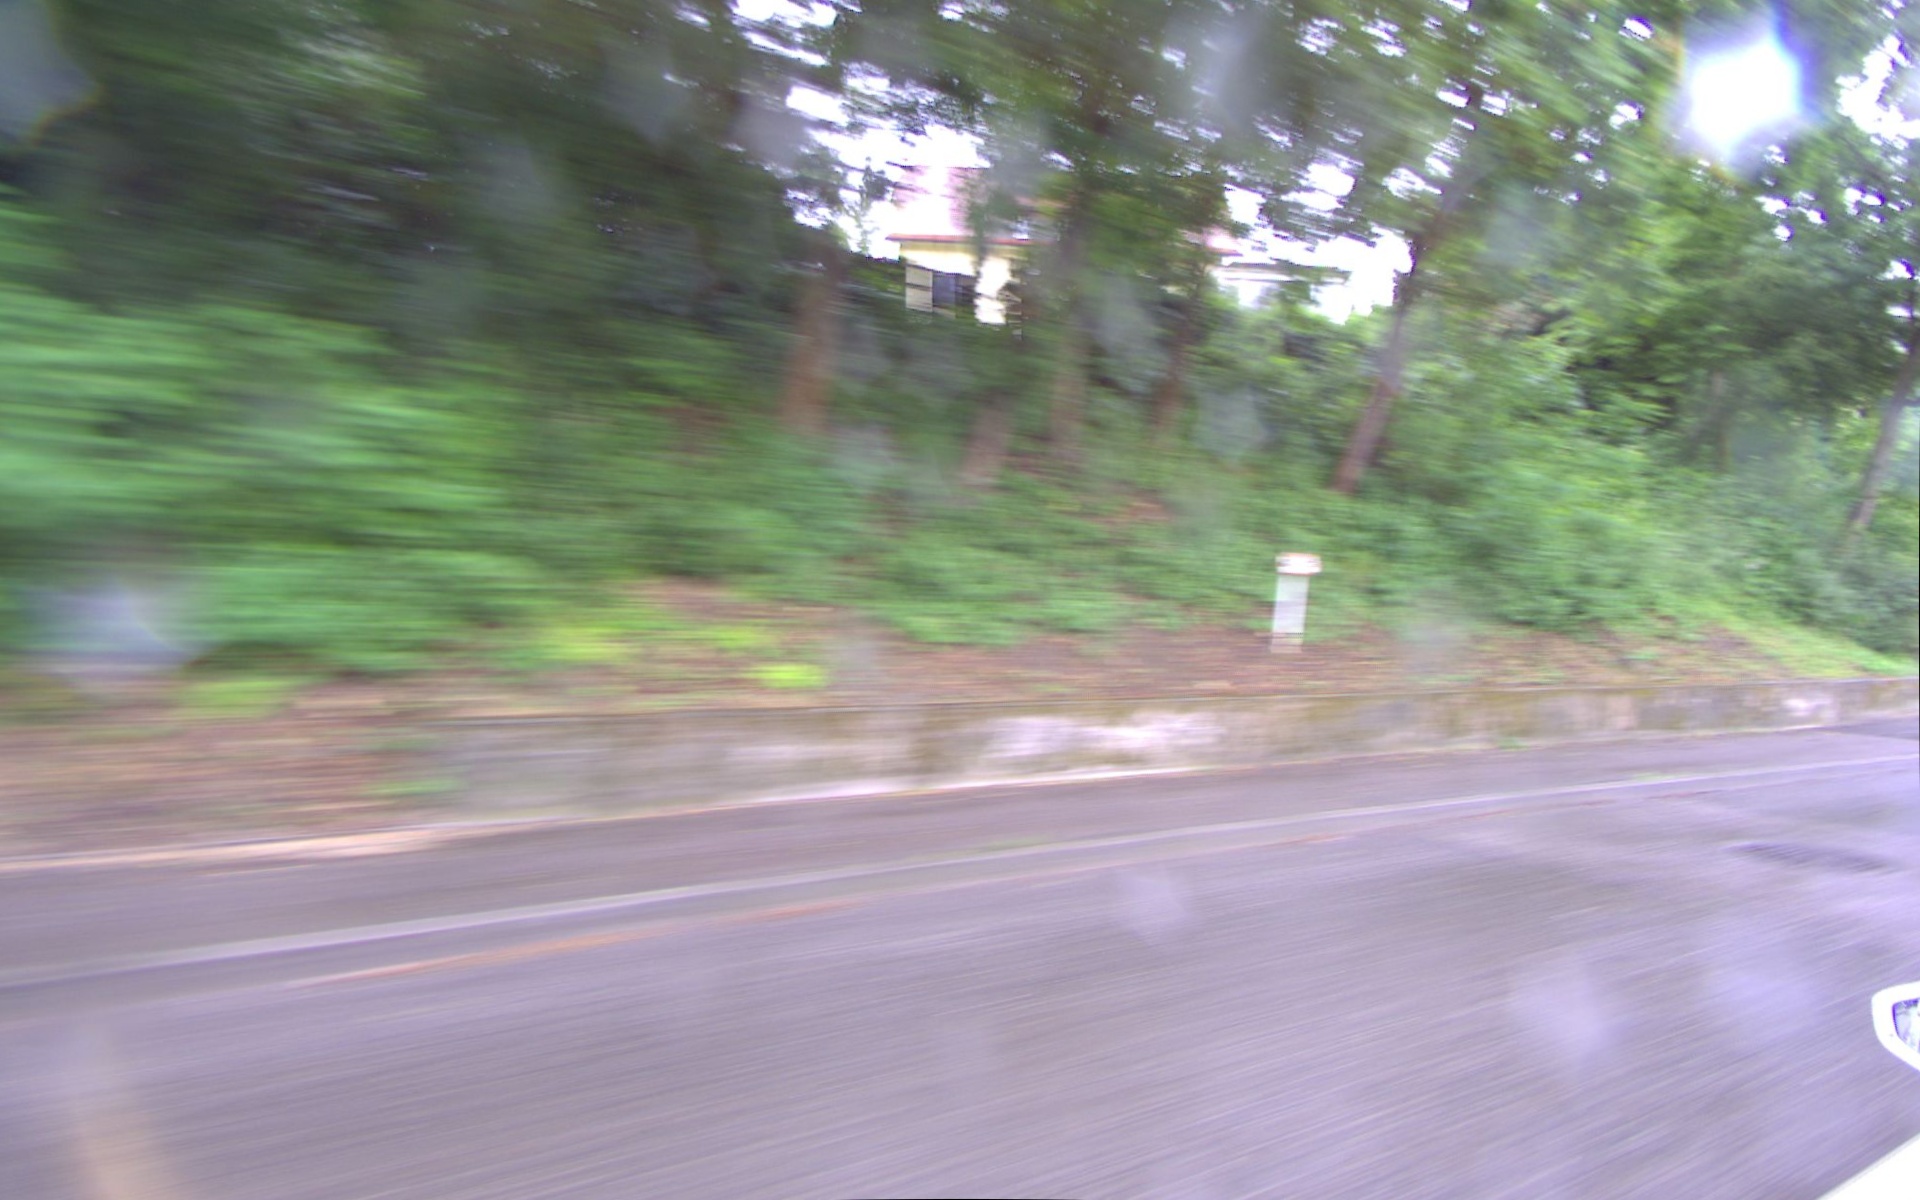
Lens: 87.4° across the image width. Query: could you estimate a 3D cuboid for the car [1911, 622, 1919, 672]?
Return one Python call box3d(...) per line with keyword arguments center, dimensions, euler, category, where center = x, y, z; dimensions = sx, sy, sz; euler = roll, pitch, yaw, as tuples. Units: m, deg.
box3d(center=(30.393, 1.426, 28.938), dimensions=(1.847, 1.523, 3.989), euler=(1, -1, -14), category="car")
